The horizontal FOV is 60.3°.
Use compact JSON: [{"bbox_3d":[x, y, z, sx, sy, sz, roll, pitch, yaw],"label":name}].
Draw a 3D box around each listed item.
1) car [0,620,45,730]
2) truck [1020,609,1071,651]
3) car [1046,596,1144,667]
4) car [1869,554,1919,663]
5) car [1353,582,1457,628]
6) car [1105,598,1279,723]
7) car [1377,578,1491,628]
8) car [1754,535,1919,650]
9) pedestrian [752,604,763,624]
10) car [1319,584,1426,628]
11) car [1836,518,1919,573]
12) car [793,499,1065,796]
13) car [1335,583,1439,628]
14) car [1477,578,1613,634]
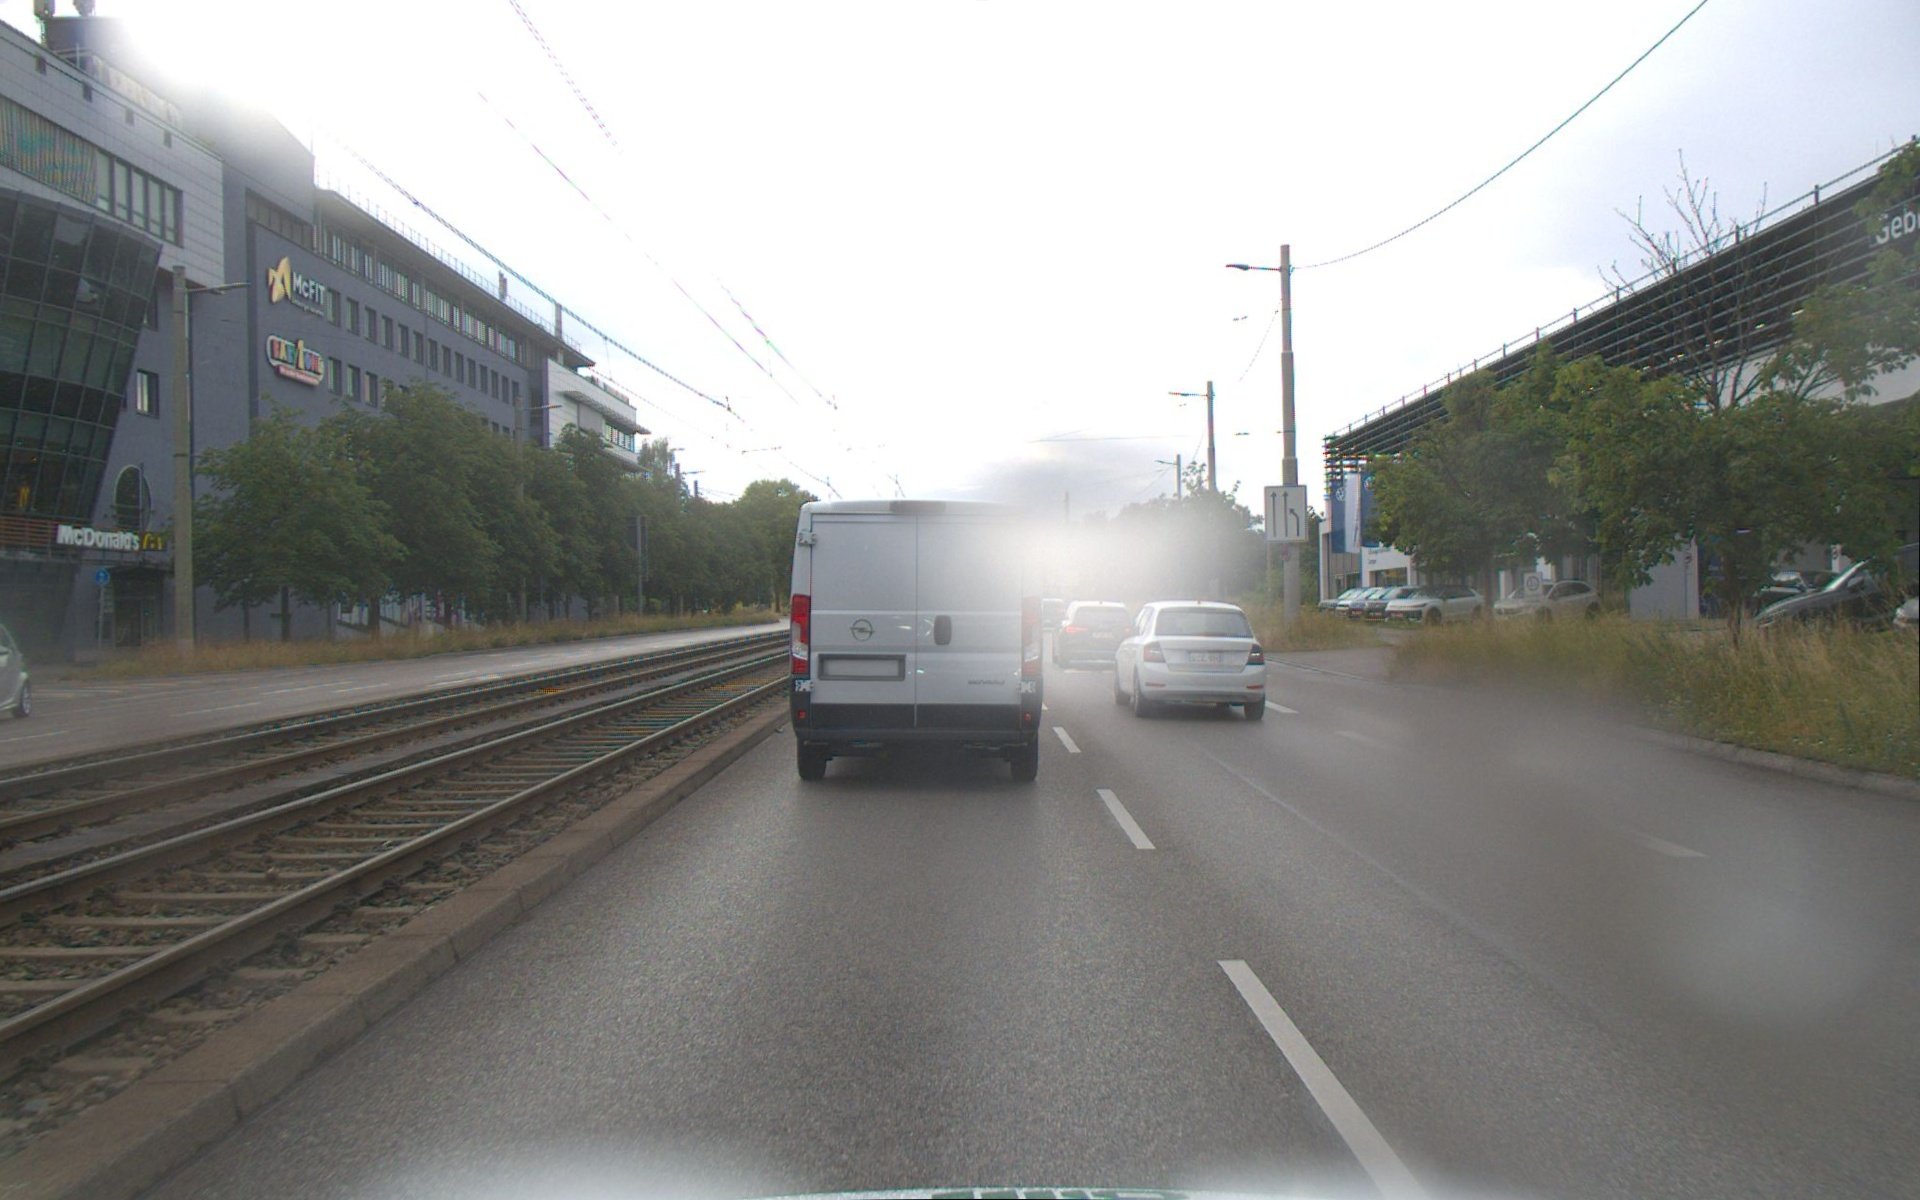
[{"bbox_3d":[-15.121,1.149,25.078,1.574,1.563,2.936,-3,1,-18],"label":"car"},{"bbox_3d":[3.887,1.346,75.710,1.953,1.822,4.412,-1,0,-2],"label":"truck"},{"bbox_3d":[2.912,0.680,36.501,1.753,1.474,3.999,0,-1,-1],"label":"car"},{"bbox_3d":[16.482,0.042,25.983,4.274,1.641,1.851,-3,0,-29],"label":"car"},{"bbox_3d":[17.056,0.183,63.252,4.152,1.596,1.773,-2,-1,-41],"label":"car"},{"bbox_3d":[3.003,0.741,22.062,1.711,1.483,3.670,1,0,-1],"label":"car"},{"bbox_3d":[16.991,0.084,59.215,4.055,1.596,1.776,-2,-1,-37],"label":"car"},{"bbox_3d":[16.807,-0.169,29.497,4.611,1.909,1.824,-3,0,24],"label":"car"},{"bbox_3d":[-20.821,1.415,170.370,0.868,2.049,0.866,-1,-1,12],"label":"pedestrian"},{"bbox_3d":[17.528,0.238,70.269,4.295,1.654,1.838,-2,-1,-30],"label":"car"},{"bbox_3d":[28.764,-1.610,49.732,3.904,1.534,1.786,1,0,2],"label":"car"},{"bbox_3d":[-0.233,0.356,15.119,2.048,2.235,5.061,1,0,0],"label":"car"},{"bbox_3d":[17.288,0.217,66.936,4.141,1.596,1.777,-2,-1,-35],"label":"car"},{"bbox_3d":[17.643,0.169,49.824,4.049,1.491,1.728,-2,-1,-33],"label":"car"}]
